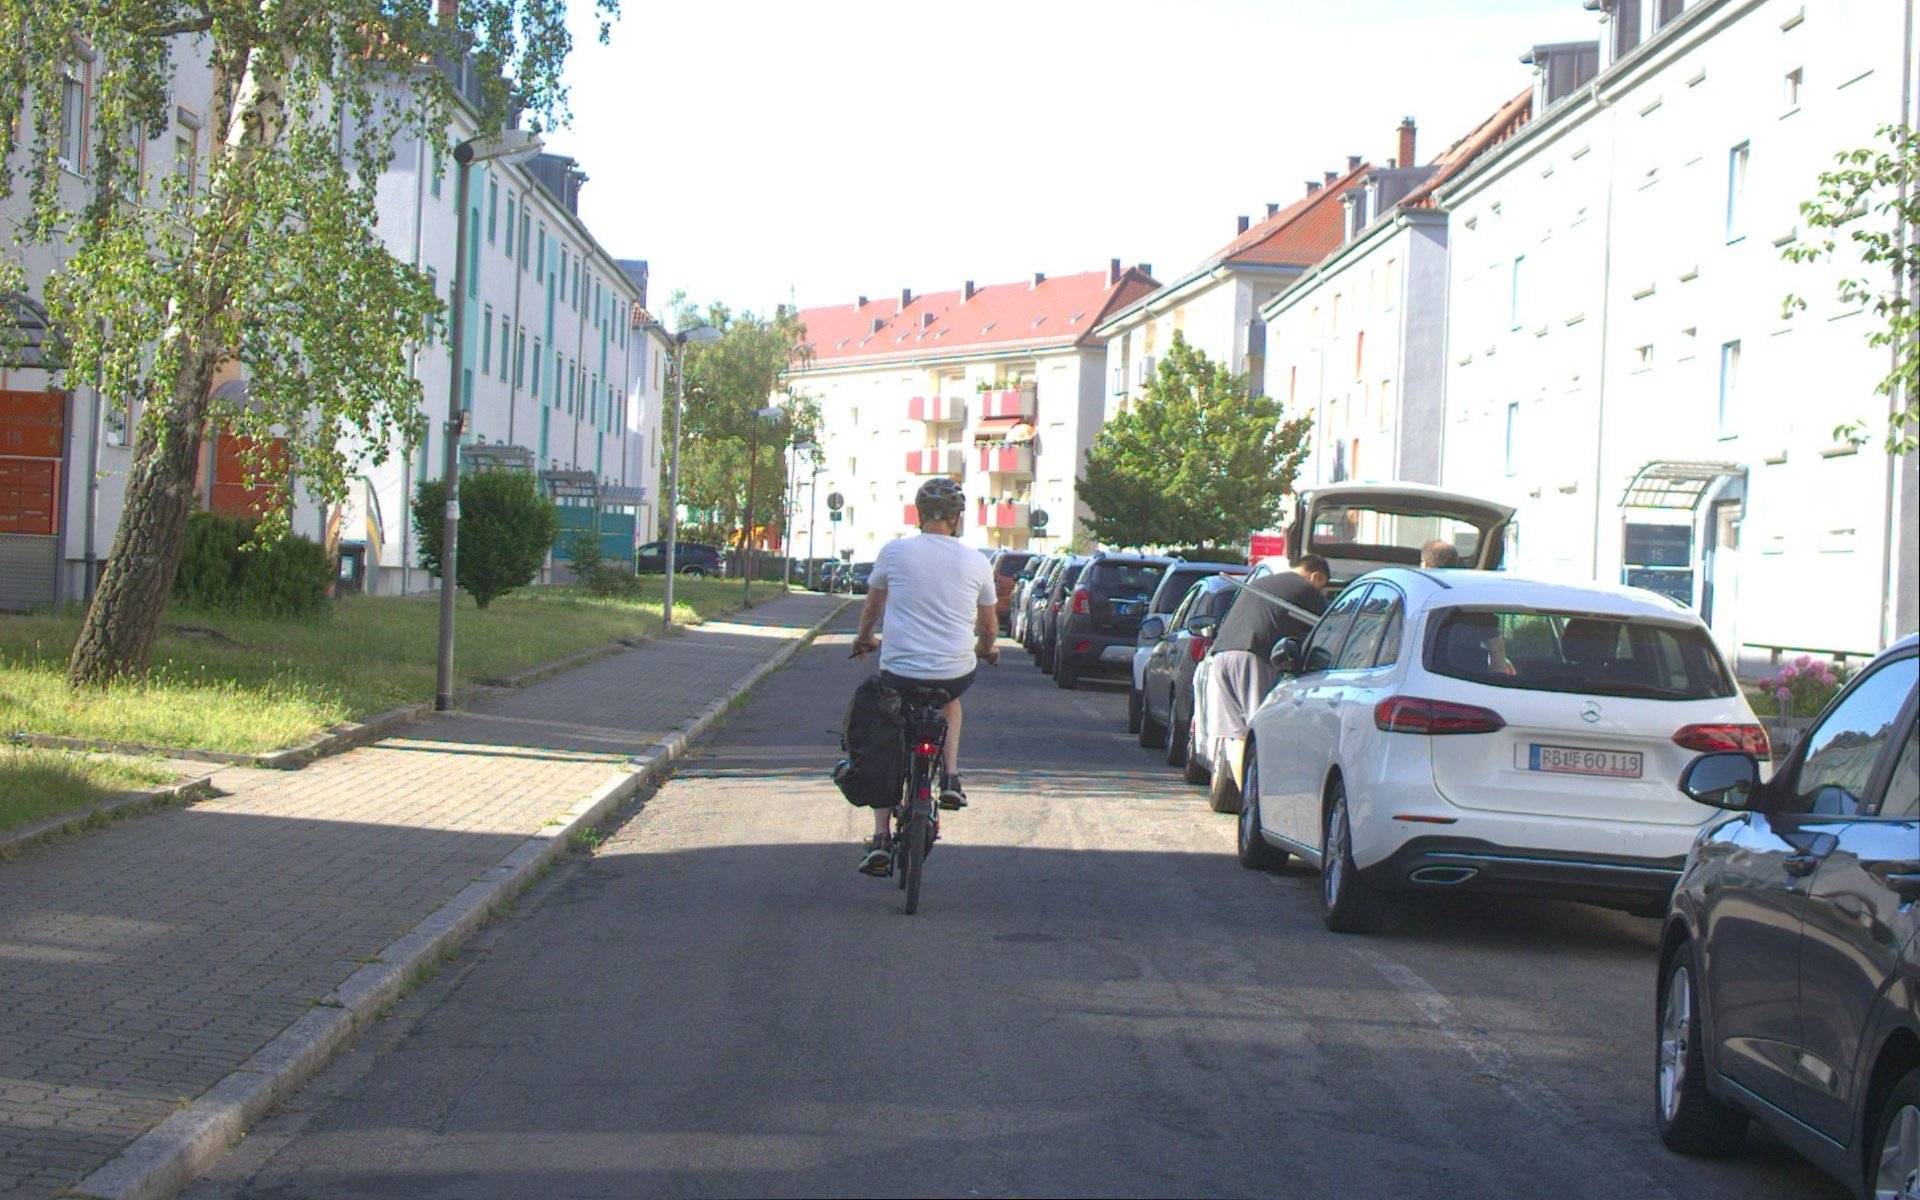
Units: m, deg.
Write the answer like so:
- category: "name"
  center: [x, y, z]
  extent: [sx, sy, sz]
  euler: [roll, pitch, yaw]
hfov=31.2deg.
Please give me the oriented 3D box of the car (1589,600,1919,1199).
- category: "car"
  center: [2.646, 0.803, 7.982]
  extent: [1.647, 1.444, 4.060]
  euler: [4, 1, 2]

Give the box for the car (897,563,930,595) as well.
- category: "car"
  center: [-2.259, -1.024, 167.537]
  extent: [1.469, 1.511, 3.077]
  euler: [1, 1, -3]

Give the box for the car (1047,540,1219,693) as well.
- category: "car"
  center: [2.041, 0.150, 41.652]
  extent: [1.783, 1.642, 4.469]
  euler: [4, 1, 0]

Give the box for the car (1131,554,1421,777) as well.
- category: "car"
  center: [2.399, 0.449, 27.003]
  extent: [1.693, 1.486, 3.985]
  euler: [4, 1, -2]

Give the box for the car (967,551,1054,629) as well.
- category: "car"
  center: [1.175, -0.257, 81.858]
  extent: [1.700, 1.665, 4.380]
  euler: [4, 1, -2]

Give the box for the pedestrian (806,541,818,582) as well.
- category: "pedestrian"
  center: [-5.783, -1.510, 134.356]
  extent: [0.434, 1.569, 0.543]
  euler: [1, 1, -1]

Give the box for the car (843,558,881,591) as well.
- category: "car"
  center: [-4.089, -1.067, 142.756]
  extent: [1.469, 1.331, 3.141]
  euler: [1, 1, -3]

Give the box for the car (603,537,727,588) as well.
- category: "car"
  center: [-10.249, -1.312, 119.594]
  extent: [4.230, 1.633, 1.583]
  euler: [2, 1, -4]

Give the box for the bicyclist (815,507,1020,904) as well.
- category: "bicyclist"
  center: [-0.195, 0.433, 14.732]
  extent: [0.808, 1.638, 0.899]
  euler: [1, 1, -3]

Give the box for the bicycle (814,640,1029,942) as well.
- category: "bicycle"
  center: [-0.198, 0.772, 14.707]
  extent: [0.808, 1.124, 2.102]
  euler: [1, 1, -3]

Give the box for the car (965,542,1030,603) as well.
- category: "car"
  center: [1.134, -0.872, 105.596]
  extent: [1.674, 1.733, 3.943]
  euler: [3, 1, -3]

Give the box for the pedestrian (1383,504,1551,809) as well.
- category: "pedestrian"
  center: [2.848, 0.307, 19.355]
  extent: [0.819, 1.681, 0.604]
  euler: [1, 1, -1]

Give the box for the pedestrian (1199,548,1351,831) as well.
- category: "pedestrian"
  center: [1.791, 0.495, 19.669]
  extent: [0.739, 1.569, 0.880]
  euler: [1, 1, -1]

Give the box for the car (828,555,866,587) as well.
- category: "car"
  center: [-4.934, -1.272, 149.423]
  extent: [1.469, 1.331, 3.141]
  euler: [-1, 1, -4]

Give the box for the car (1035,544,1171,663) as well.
- category: "car"
  center: [1.898, 0.012, 46.747]
  extent: [1.641, 1.493, 4.156]
  euler: [2, 1, 0]

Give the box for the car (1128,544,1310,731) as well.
- category: "car"
  center: [2.344, 0.307, 31.477]
  extent: [1.480, 1.524, 2.940]
  euler: [4, 1, 3]

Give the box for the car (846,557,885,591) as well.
- category: "car"
  center: [-3.820, -1.054, 138.141]
  extent: [1.469, 1.331, 3.141]
  euler: [1, 1, -3]

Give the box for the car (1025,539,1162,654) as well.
- category: "car"
  center: [1.987, -0.088, 52.355]
  extent: [1.690, 1.569, 4.435]
  euler: [3, 1, -2]

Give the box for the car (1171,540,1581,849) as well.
- category: "car"
  center: [2.486, 0.487, 21.790]
  extent: [1.993, 1.607, 4.995]
  euler: [4, 1, 1]

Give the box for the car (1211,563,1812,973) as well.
- category: "car"
  center: [2.335, 0.639, 15.759]
  extent: [1.772, 1.499, 4.481]
  euler: [3, 1, -3]

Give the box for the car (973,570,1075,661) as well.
- category: "car"
  center: [1.288, 0.294, 71.143]
  extent: [1.862, 1.662, 4.127]
  euler: [4, 1, -1]

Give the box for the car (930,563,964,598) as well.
- category: "car"
  center: [-0.605, -0.890, 154.769]
  extent: [1.381, 1.492, 3.077]
  euler: [1, 1, -3]
